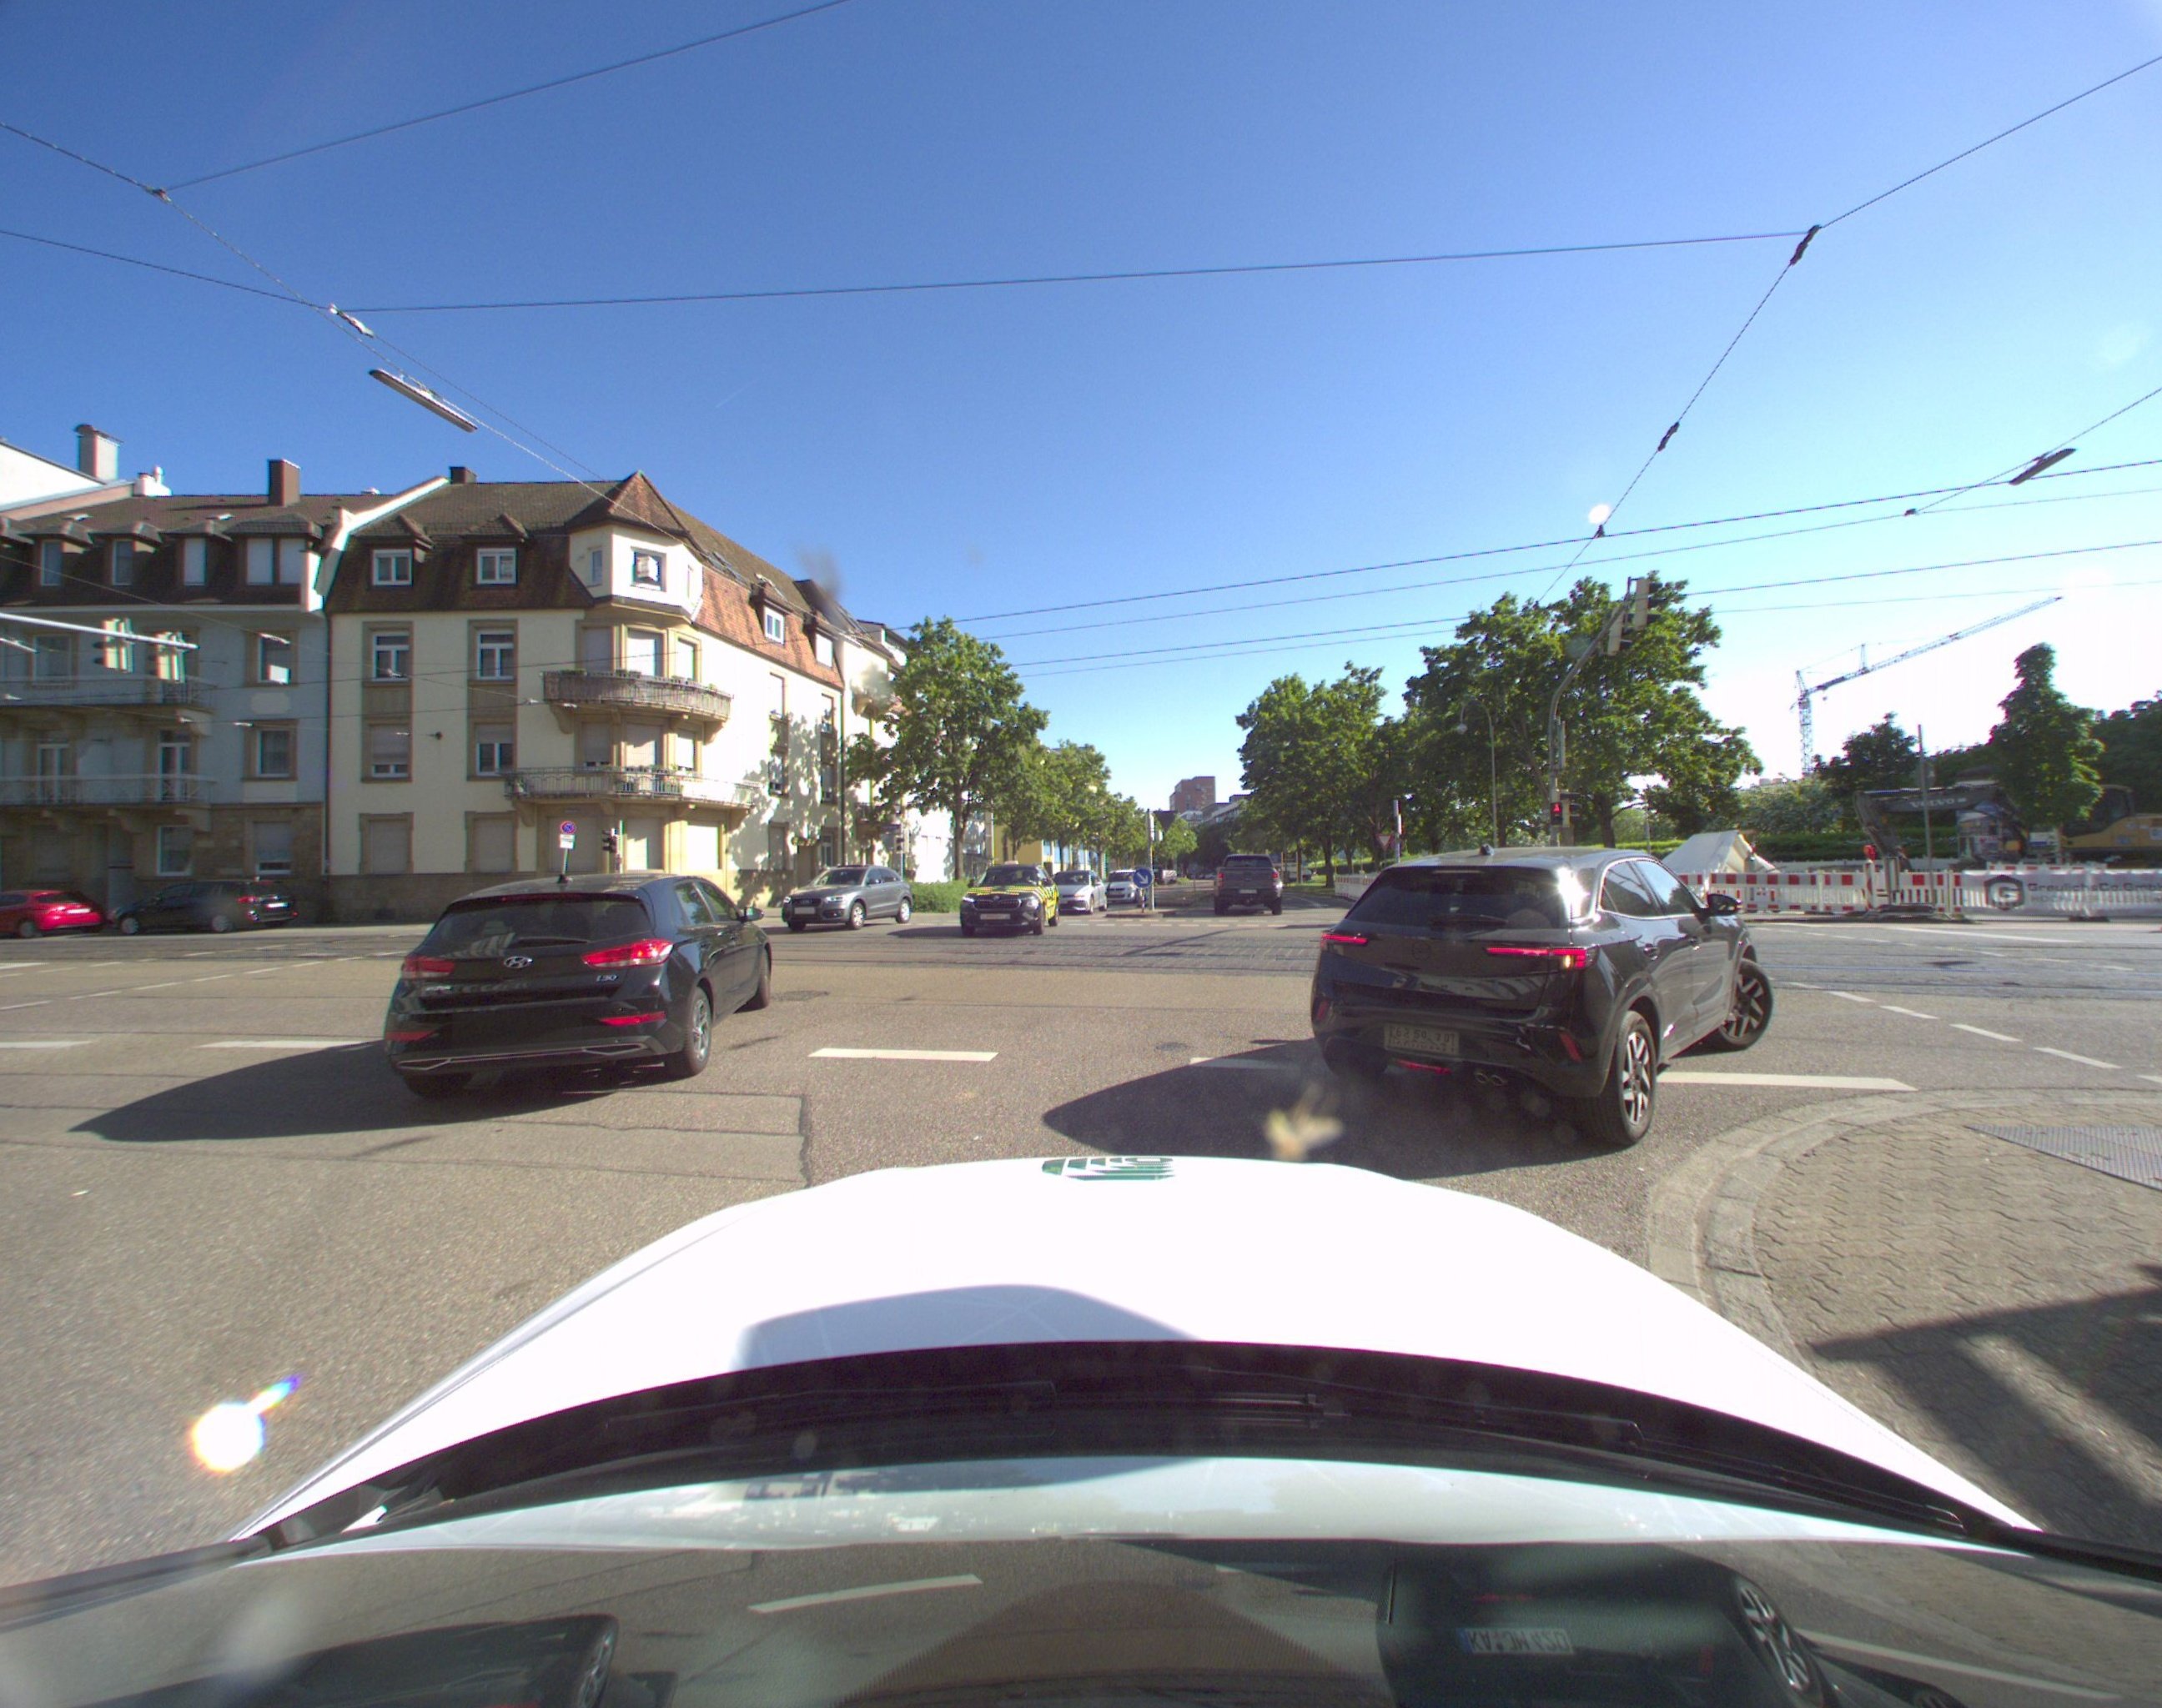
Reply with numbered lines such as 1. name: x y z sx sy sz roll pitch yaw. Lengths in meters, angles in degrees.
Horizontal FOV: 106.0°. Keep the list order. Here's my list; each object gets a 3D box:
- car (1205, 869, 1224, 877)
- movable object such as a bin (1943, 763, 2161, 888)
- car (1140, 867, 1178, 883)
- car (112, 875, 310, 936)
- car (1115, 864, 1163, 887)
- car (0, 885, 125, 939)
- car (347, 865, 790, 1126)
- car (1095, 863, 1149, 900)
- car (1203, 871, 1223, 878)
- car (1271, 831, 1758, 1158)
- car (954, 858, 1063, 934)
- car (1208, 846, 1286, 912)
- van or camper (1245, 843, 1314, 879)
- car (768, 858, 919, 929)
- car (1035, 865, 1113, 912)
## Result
1. car: 29.752 4.252 181.894 3.931 1.397 1.517 -4 -2 2
2. movable object such as a bin: 28.812 -0.729 23.457 4.666 3.364 2.843 -1 -2 10
3. car: 11.030 2.936 114.840 4.905 2.083 1.970 -1 -2 -24
4. car: -27.604 1.603 25.944 4.145 1.724 1.963 -1 0 1
5. car: 6.886 2.526 97.087 5.268 2.546 1.976 -1 -2 -14
6. car: -33.525 1.841 25.949 3.864 1.540 1.900 -1 0 1
7. car: -3.850 0.874 7.113 1.802 1.451 4.309 -3 -1 -11
8. car: 1.920 1.218 37.095 1.693 1.513 3.876 -3 -2 13
9. car: 28.383 4.428 174.808 3.931 1.397 1.517 -4 -2 2
10. car: 3.203 0.673 5.704 3.775 1.517 1.766 0 -1 -41
11. car: -1.519 0.888 18.569 1.780 1.514 4.121 -1 -1 4
12. car: 5.247 0.754 25.695 2.119 1.836 4.956 -2 -1 12
13. van or camper: 18.791 0.699 77.426 6.041 2.929 2.583 -4 -2 10
14. car: -5.930 0.952 20.918 1.871 1.610 4.163 -2 -1 14
15. car: -0.159 1.104 27.406 1.696 1.452 3.864 -2 -1 13
